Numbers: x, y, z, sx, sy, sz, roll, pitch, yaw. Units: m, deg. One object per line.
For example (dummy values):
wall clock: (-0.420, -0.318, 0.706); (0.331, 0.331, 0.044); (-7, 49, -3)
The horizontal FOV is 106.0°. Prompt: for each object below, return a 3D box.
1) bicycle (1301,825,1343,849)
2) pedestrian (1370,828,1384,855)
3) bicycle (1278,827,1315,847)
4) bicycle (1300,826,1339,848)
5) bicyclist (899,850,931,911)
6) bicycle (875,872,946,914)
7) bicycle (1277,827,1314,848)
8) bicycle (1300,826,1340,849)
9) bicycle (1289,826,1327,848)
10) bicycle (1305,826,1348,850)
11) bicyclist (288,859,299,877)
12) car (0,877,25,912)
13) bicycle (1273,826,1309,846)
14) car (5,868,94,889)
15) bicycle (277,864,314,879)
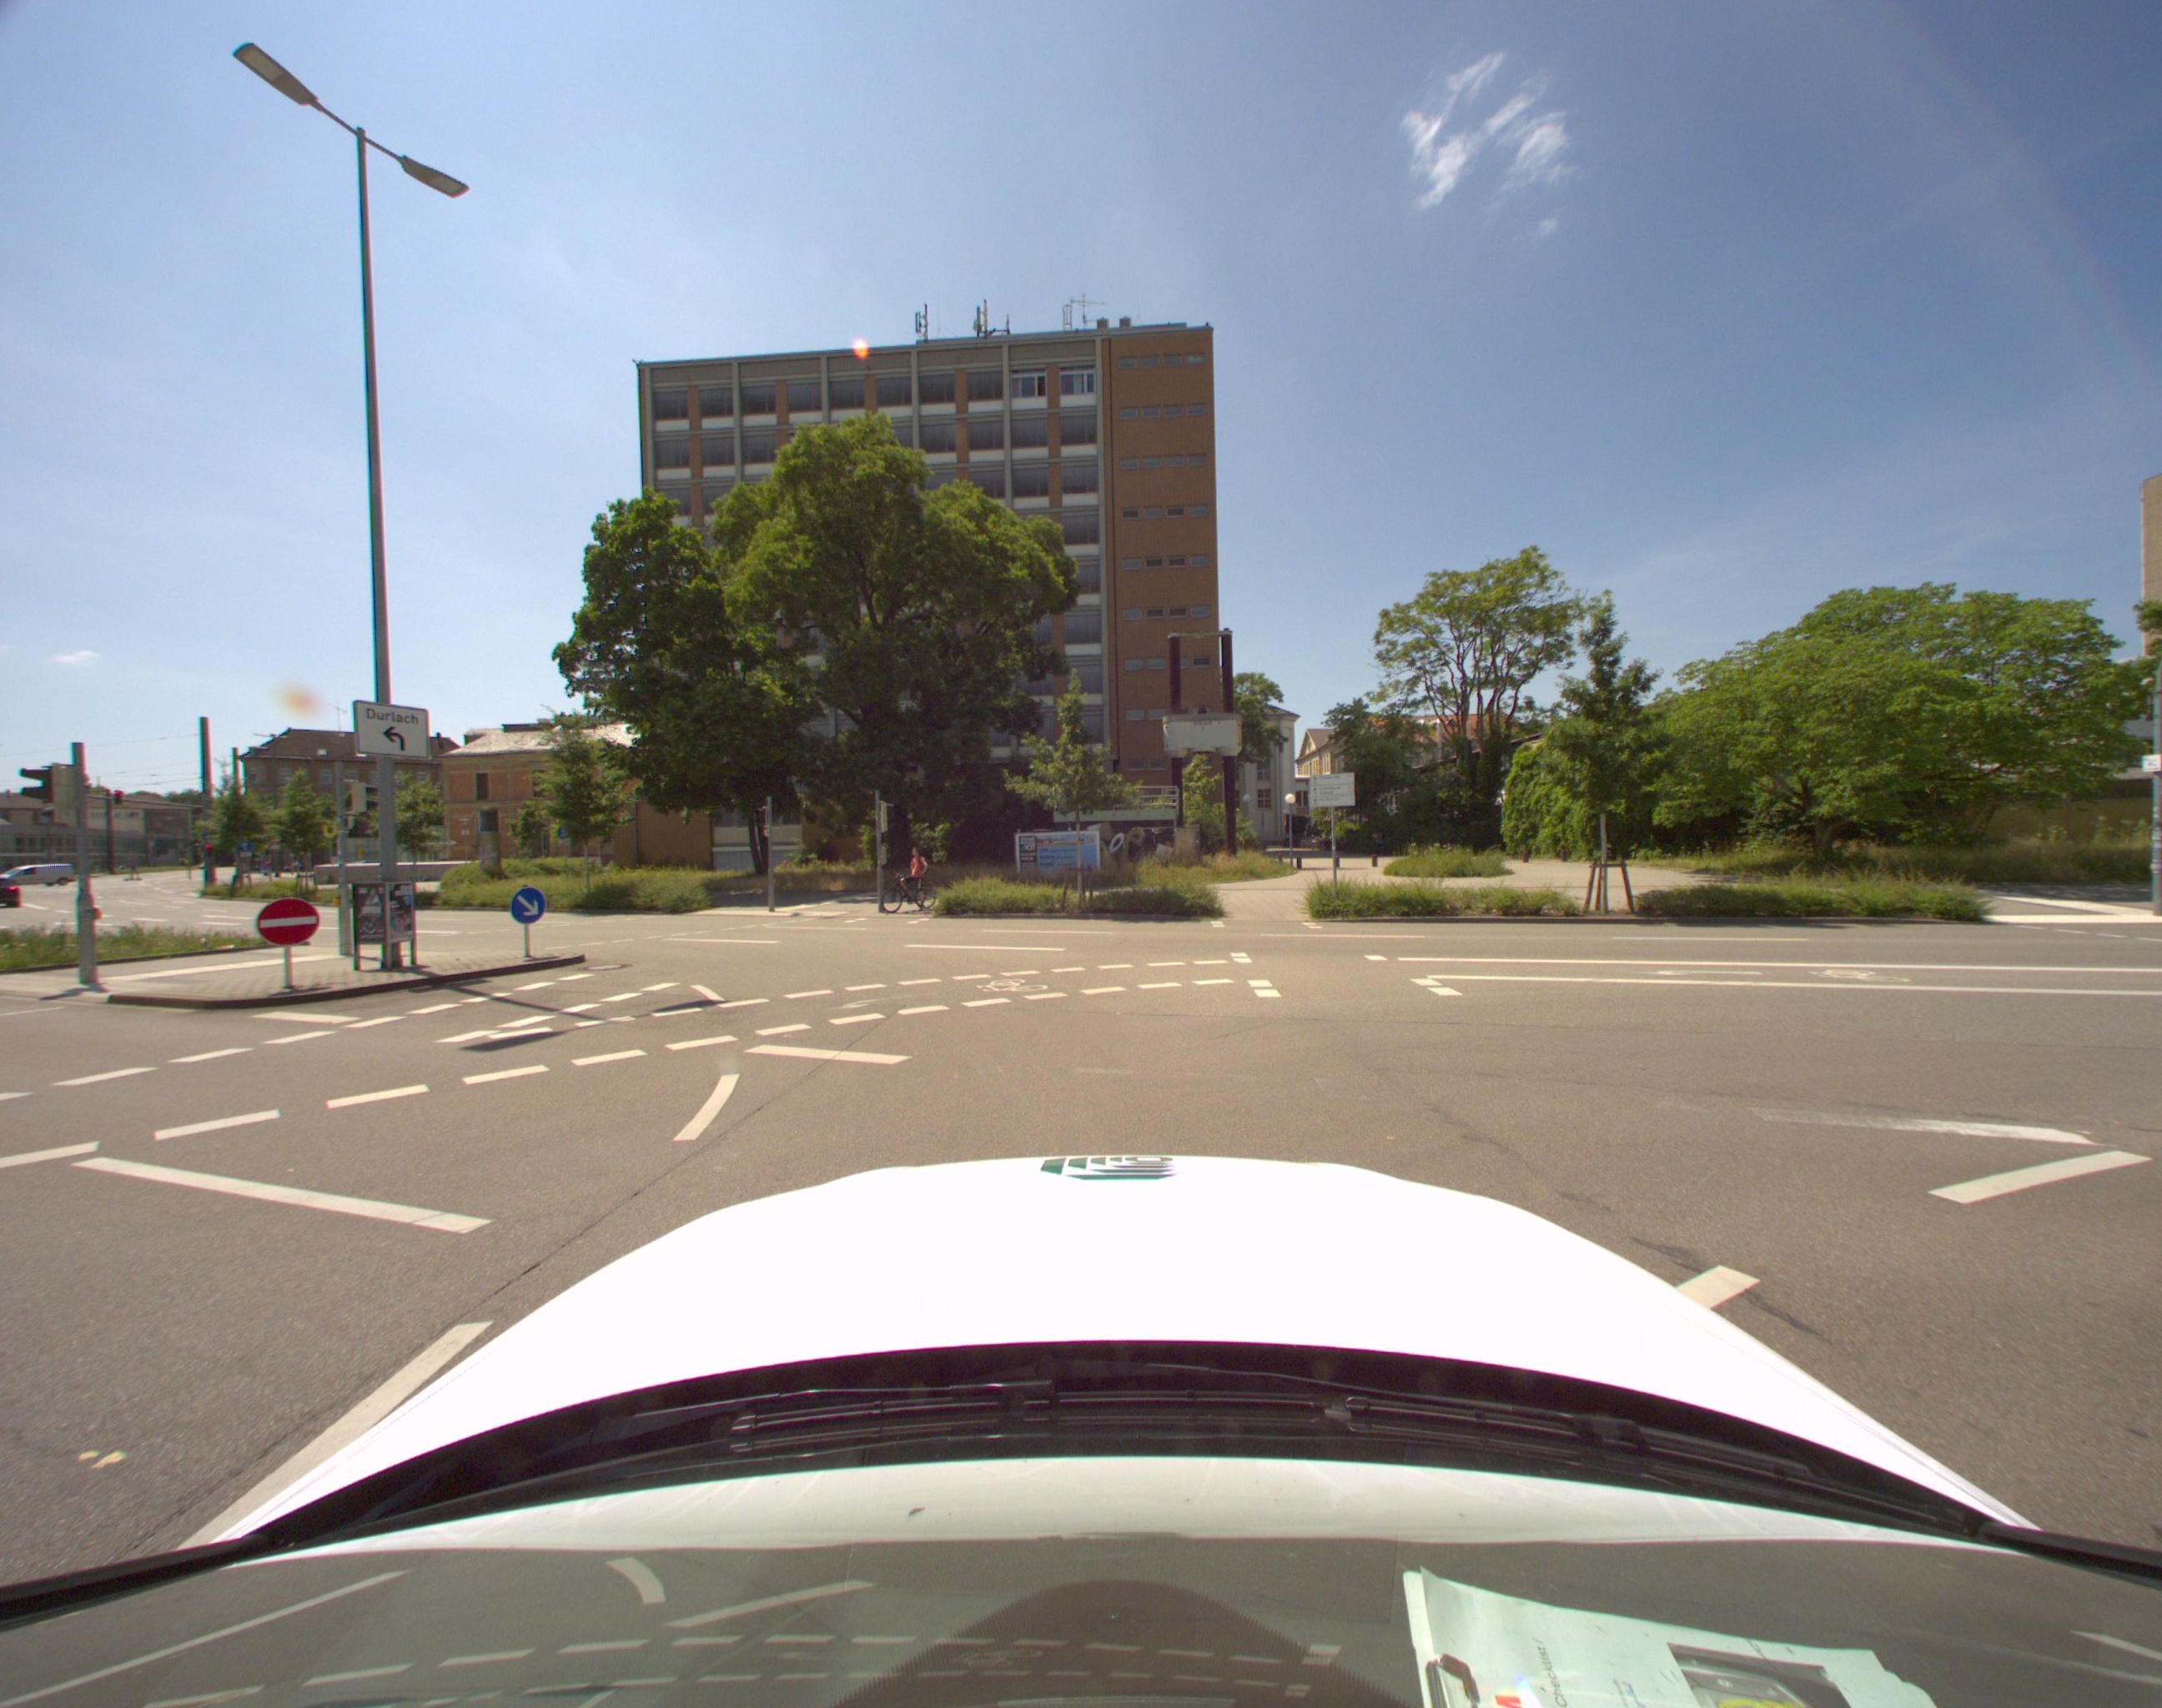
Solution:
bicycle: (21.261, -1.490, 71.837); (3.428, 2.013, 0.762); (1, 1, 7)
pedestrian: (18.180, -0.760, 49.986); (0.636, 1.665, 0.708); (1, 1, 5)
bicycle: (21.429, -1.703, 81.097); (3.428, 2.013, 0.762); (1, 1, 7)
bicycle: (22.234, -1.612, 76.022); (3.428, 2.013, 0.762); (1, 1, 7)
bicyclist: (-4.820, 0.754, 23.601); (0.707, 1.715, 0.545); (-3, 3, -43)
bicycle: (-4.903, 1.107, 23.538); (2.008, 1.045, 0.552); (-3, 3, -43)
bicycle: (21.056, -1.668, 80.093); (3.428, 2.013, 0.762); (1, 1, 7)
bicycle: (21.663, -1.489, 73.859); (3.428, 2.013, 0.762); (1, 1, 7)
bicycle: (21.713, -1.646, 77.969); (3.428, 2.013, 0.762); (1, 1, 7)
bicycle: (20.860, -1.386, 69.354); (3.428, 2.013, 0.762); (1, 1, 7)
bicyclist: (-85.915, 1.553, 88.873); (0.651, 1.938, 0.770); (1, 1, 33)
car: (-51.278, 1.901, 38.246); (4.527, 1.556, 1.733); (-1, 1, 34)
bicycle: (21.264, -1.816, 82.427); (3.428, 2.013, 0.762); (1, 1, 7)
car: (-88.641, 2.078, 70.058); (1.795, 1.627, 4.339); (1, 1, 15)
bicycle: (-85.837, 1.917, 89.022); (0.625, 1.463, 2.853); (1, 1, 33)
